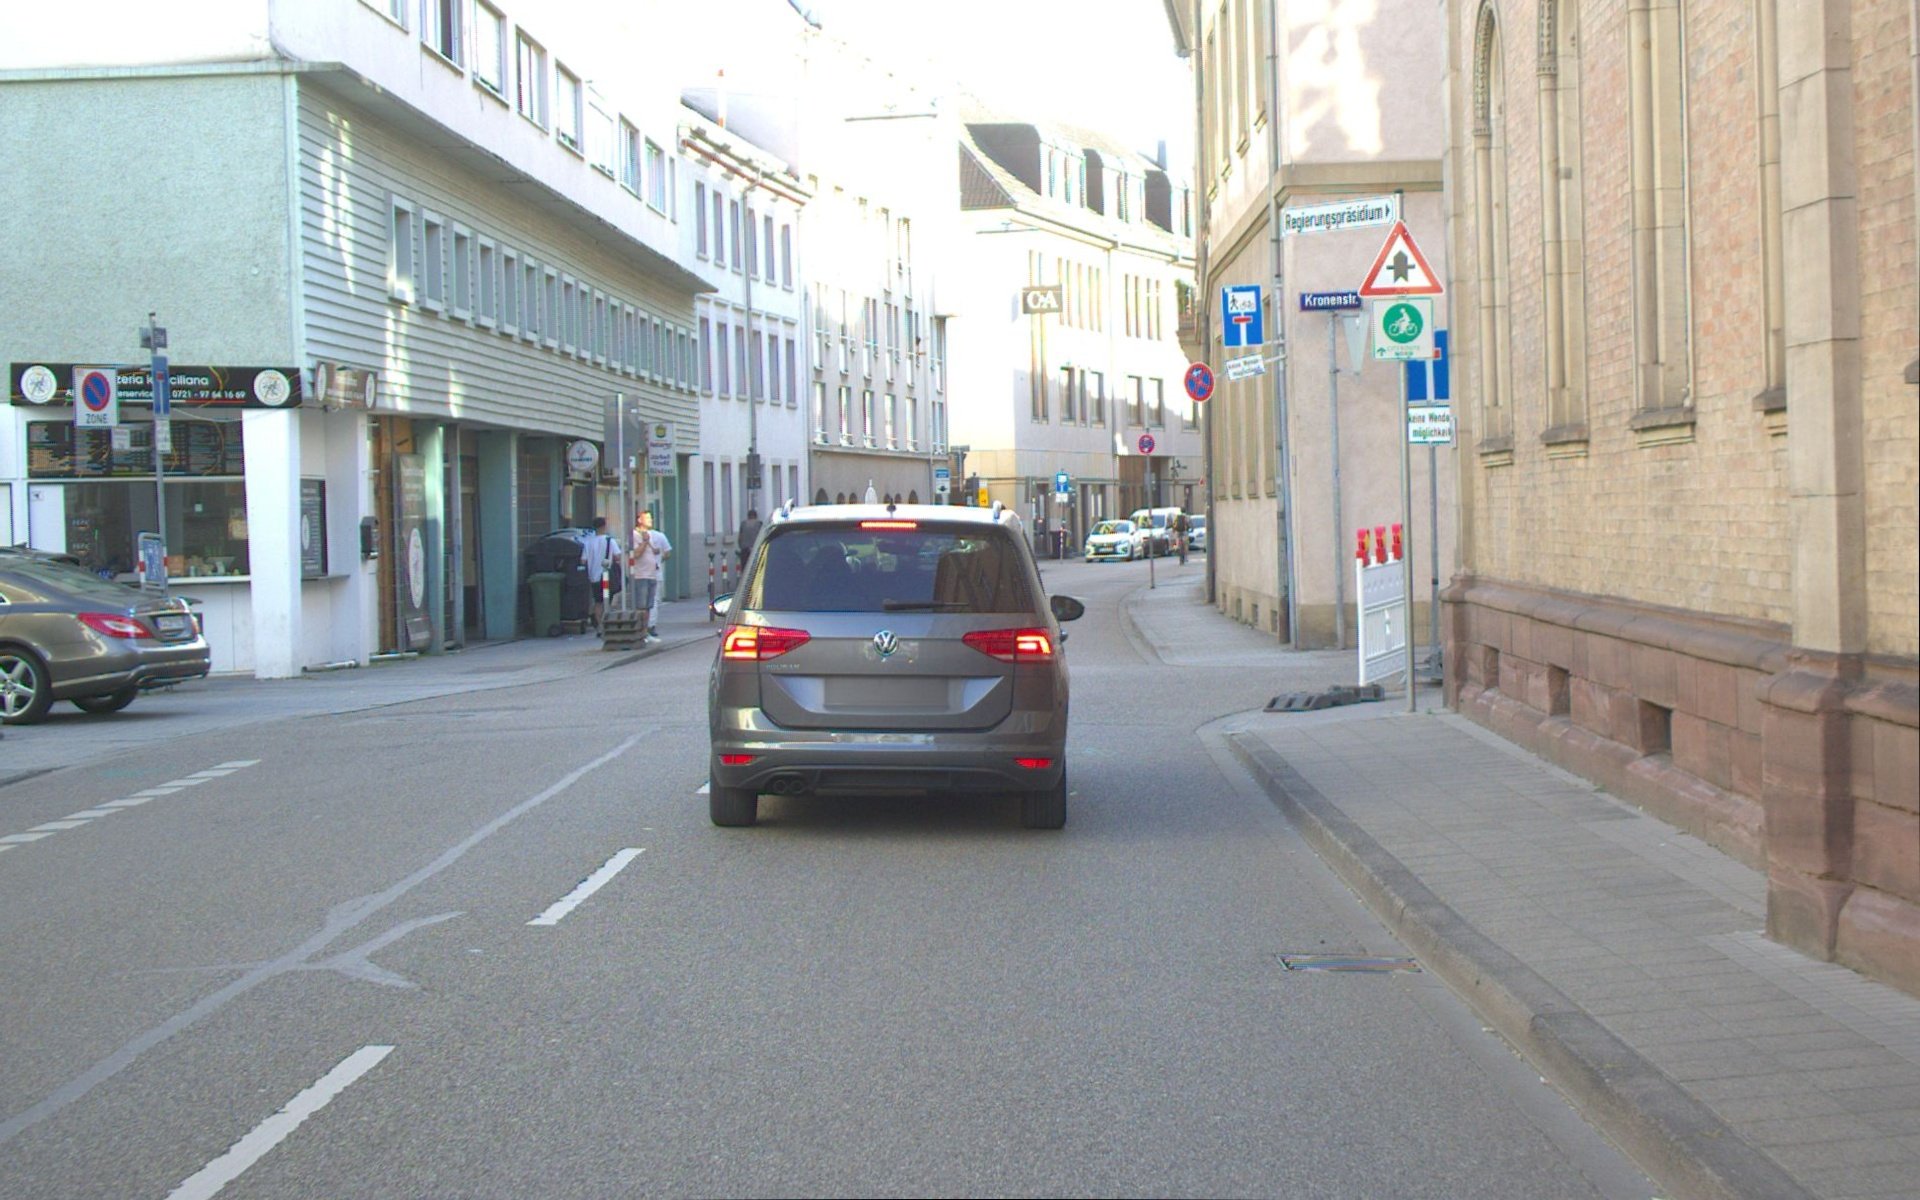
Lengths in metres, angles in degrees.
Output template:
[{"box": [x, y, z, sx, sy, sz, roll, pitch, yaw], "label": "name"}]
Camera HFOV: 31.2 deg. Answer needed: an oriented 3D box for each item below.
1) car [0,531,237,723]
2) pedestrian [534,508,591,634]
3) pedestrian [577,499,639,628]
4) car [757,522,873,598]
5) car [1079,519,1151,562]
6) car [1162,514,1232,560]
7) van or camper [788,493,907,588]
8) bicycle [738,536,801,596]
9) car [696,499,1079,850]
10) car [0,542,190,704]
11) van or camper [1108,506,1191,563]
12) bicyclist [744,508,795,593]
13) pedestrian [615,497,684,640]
[{"box": [-8.769, 0.233, 29.401, 4.616, 1.536, 1.999, -1, 1, 12], "label": "car"}, {"box": [-5.844, -0.436, 50.524, 0.728, 1.823, 0.557, -1, 1, 0], "label": "pedestrian"}, {"box": [-5.016, -0.521, 49.036, 0.556, 1.823, 0.730, -1, 1, 24], "label": "pedestrian"}, {"box": [-2.952, -0.844, 70.846, 1.866, 1.463, 3.833, -1, 2, 5], "label": "car"}, {"box": [5.559, -2.145, 122.885, 1.735, 1.463, 3.998, -1, 1, 14], "label": "car"}, {"box": [9.309, -2.475, 134.850, 1.827, 1.720, 3.997, -1, 1, 17], "label": "car"}, {"box": [-2.465, -1.345, 76.565, 1.994, 2.007, 4.482, -1, 1, 6], "label": "van or camper"}, {"box": [-3.545, -0.650, 64.203, 0.831, 1.050, 2.549, -1, 2, 5], "label": "bicycle"}, {"box": [-0.319, 0.305, 18.174, 1.762, 1.601, 4.000, 2, 1, 1], "label": "car"}, {"box": [-9.682, 0.243, 32.897, 4.098, 1.438, 1.948, -2, 2, 2], "label": "car"}, {"box": [7.126, -2.467, 128.591, 1.995, 2.006, 4.995, -1, 2, 16], "label": "van or camper"}, {"box": [-3.549, -0.921, 64.127, 0.831, 1.556, 0.759, -1, 1, 5], "label": "bicyclist"}, {"box": [-4.002, -0.411, 44.341, 0.556, 1.823, 0.730, -1, 1, 24], "label": "pedestrian"}]
